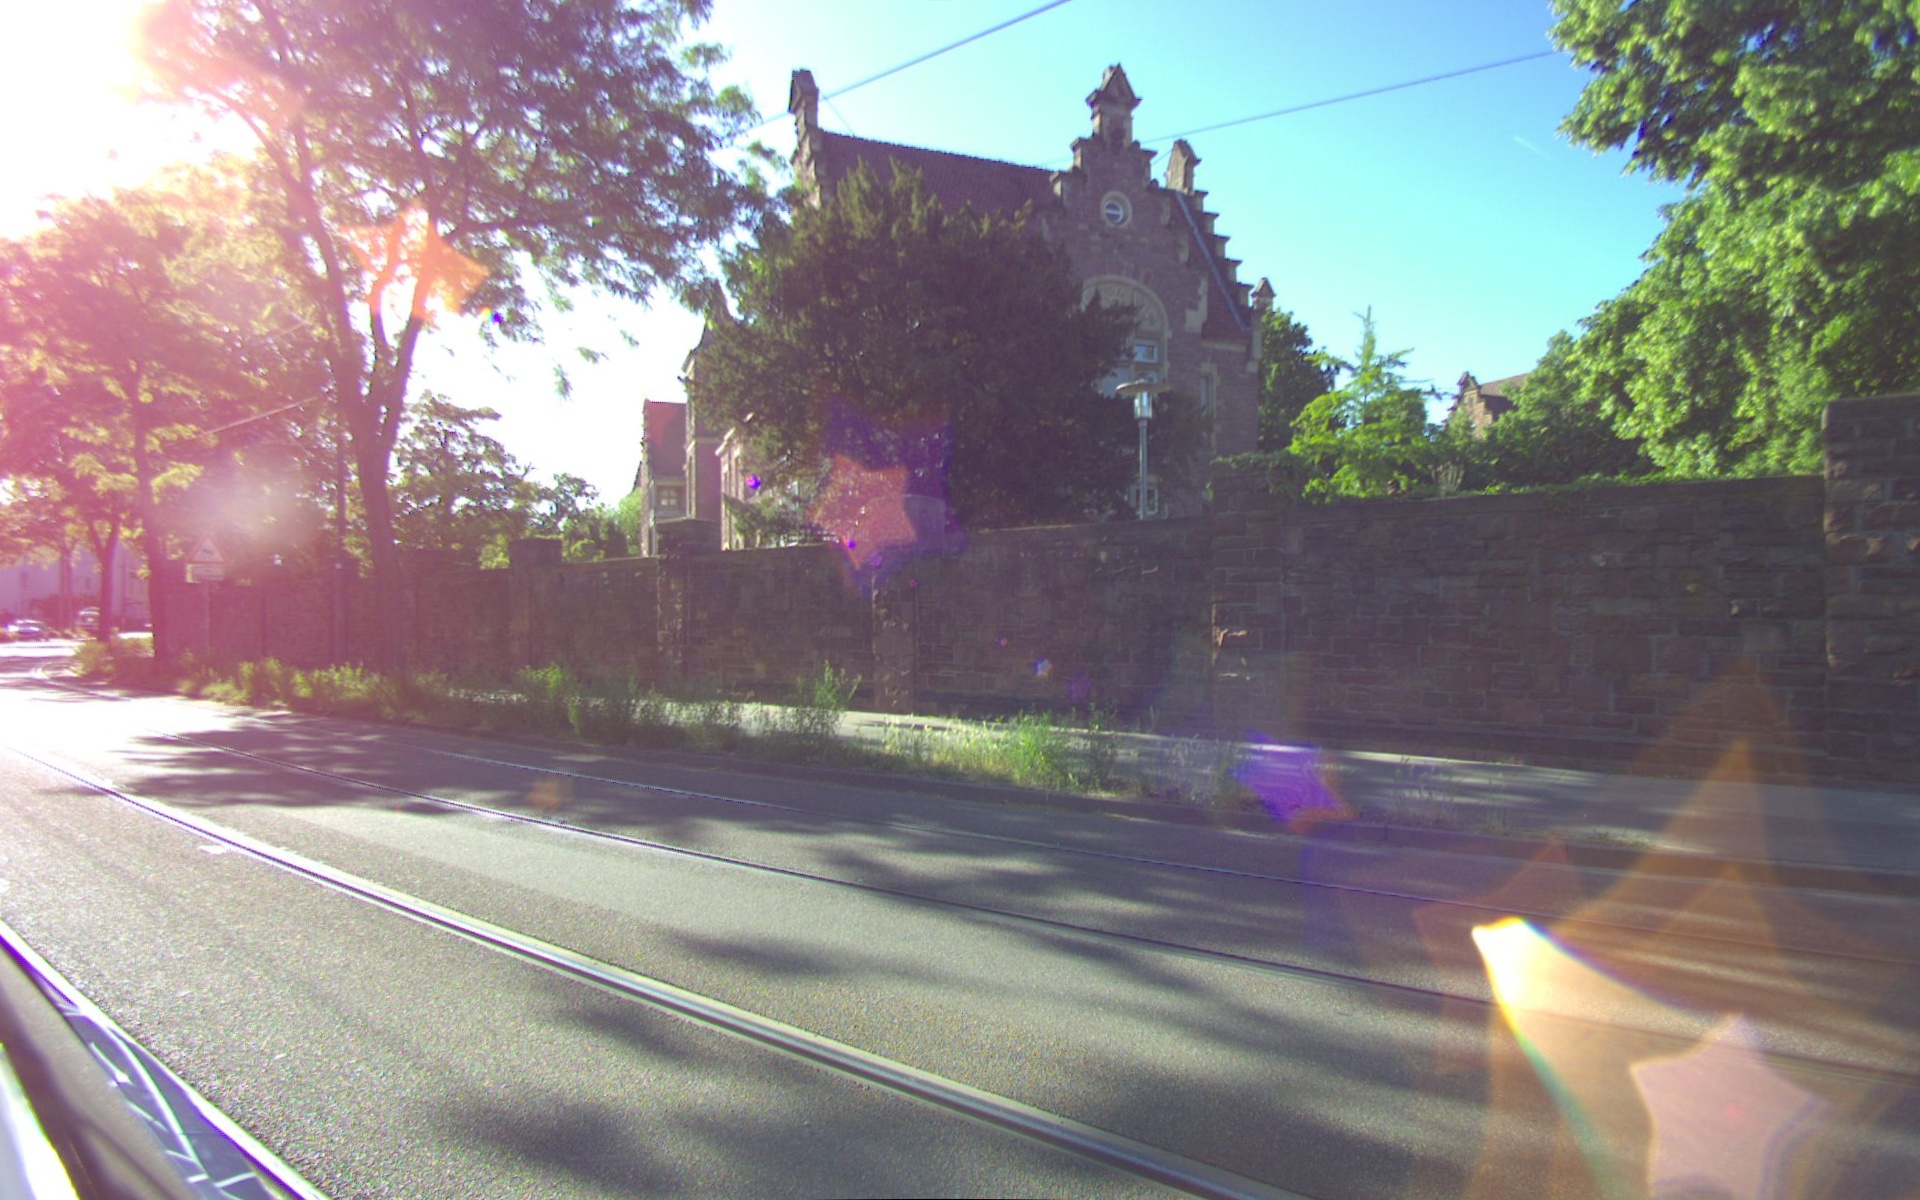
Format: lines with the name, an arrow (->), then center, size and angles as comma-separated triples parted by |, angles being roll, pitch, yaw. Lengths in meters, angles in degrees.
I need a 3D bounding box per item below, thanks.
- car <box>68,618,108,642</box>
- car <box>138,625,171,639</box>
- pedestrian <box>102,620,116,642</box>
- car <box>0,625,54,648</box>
car -> -77.677, 2.682, 90.193 | 1.966, 2.111, 4.730 | 0, -2, -32
car -> -92.906, 3.652, 116.804 | 1.713, 1.507, 4.544 | 0, -1, -21
pedestrian -> -72.976, 2.656, 86.799 | 0.866, 1.879, 1.022 | 0, -1, -37
car -> -68.507, 2.649, 74.258 | 1.973, 1.476, 5.448 | 4, -3, -32
